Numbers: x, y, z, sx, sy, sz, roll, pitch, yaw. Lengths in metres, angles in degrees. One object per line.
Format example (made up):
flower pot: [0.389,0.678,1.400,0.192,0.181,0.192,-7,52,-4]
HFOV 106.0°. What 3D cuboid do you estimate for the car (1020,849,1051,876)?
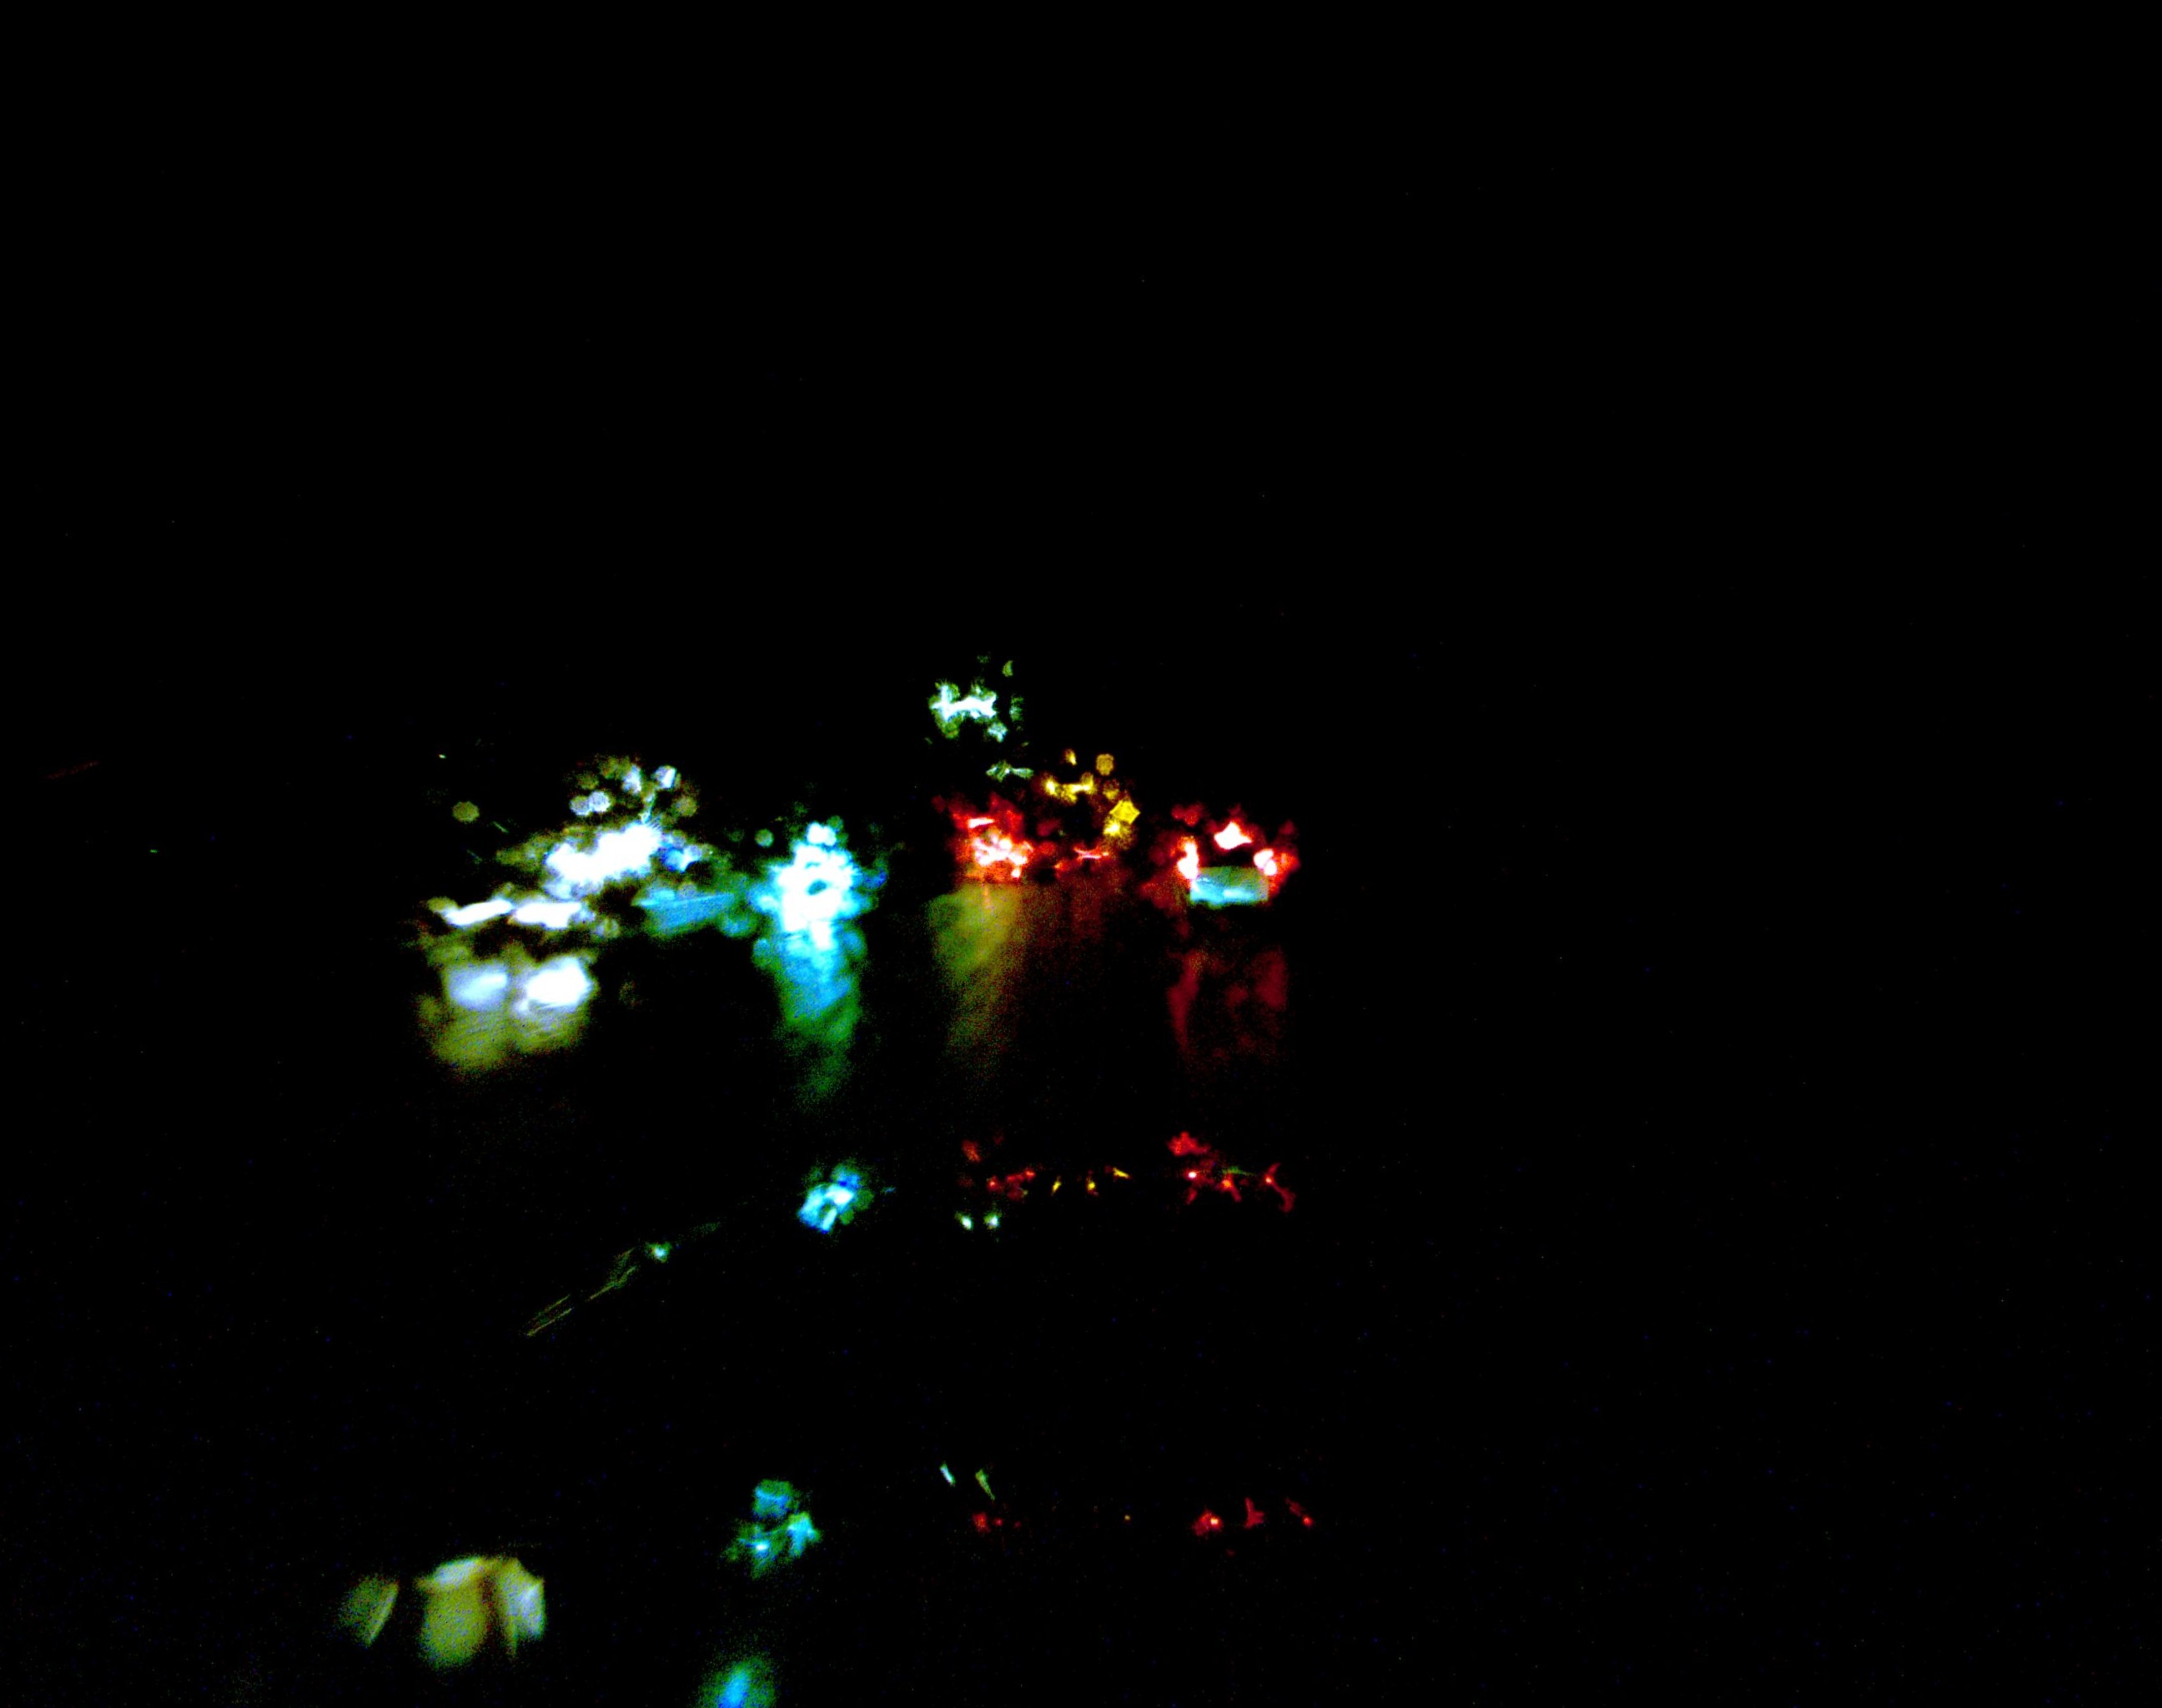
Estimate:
car: [-2.754,0.495,49.664,1.780,1.511,4.431,-2,0,-3]

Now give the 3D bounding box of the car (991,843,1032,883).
car: [-3.277,0.377,39.141,1.779,1.782,4.431,-1,0,-3]

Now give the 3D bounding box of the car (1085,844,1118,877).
car: [1.279,0.382,52.888,1.787,2.022,4.575,-1,0,-3]

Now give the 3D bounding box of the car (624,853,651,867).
car: [-48.515,0.662,89.076,1.725,1.519,3.979,0,0,-15]

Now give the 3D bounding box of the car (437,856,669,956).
car: [-9.518,0.854,15.134,1.798,1.588,4.026,1,-1,-3]

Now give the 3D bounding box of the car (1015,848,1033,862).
car: [-7.794,0.116,111.160,1.987,1.717,4.000,3,-1,0]

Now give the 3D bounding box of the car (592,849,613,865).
car: [-44.935,0.279,76.563,1.520,1.518,4.334,2,-1,-28]

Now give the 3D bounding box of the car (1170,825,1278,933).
car: [2.940,0.463,17.614,1.784,2.022,4.584,-1,0,3]

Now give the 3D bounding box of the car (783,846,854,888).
car: [-11.017,0.511,34.507,1.758,1.641,4.646,1,0,-4]
